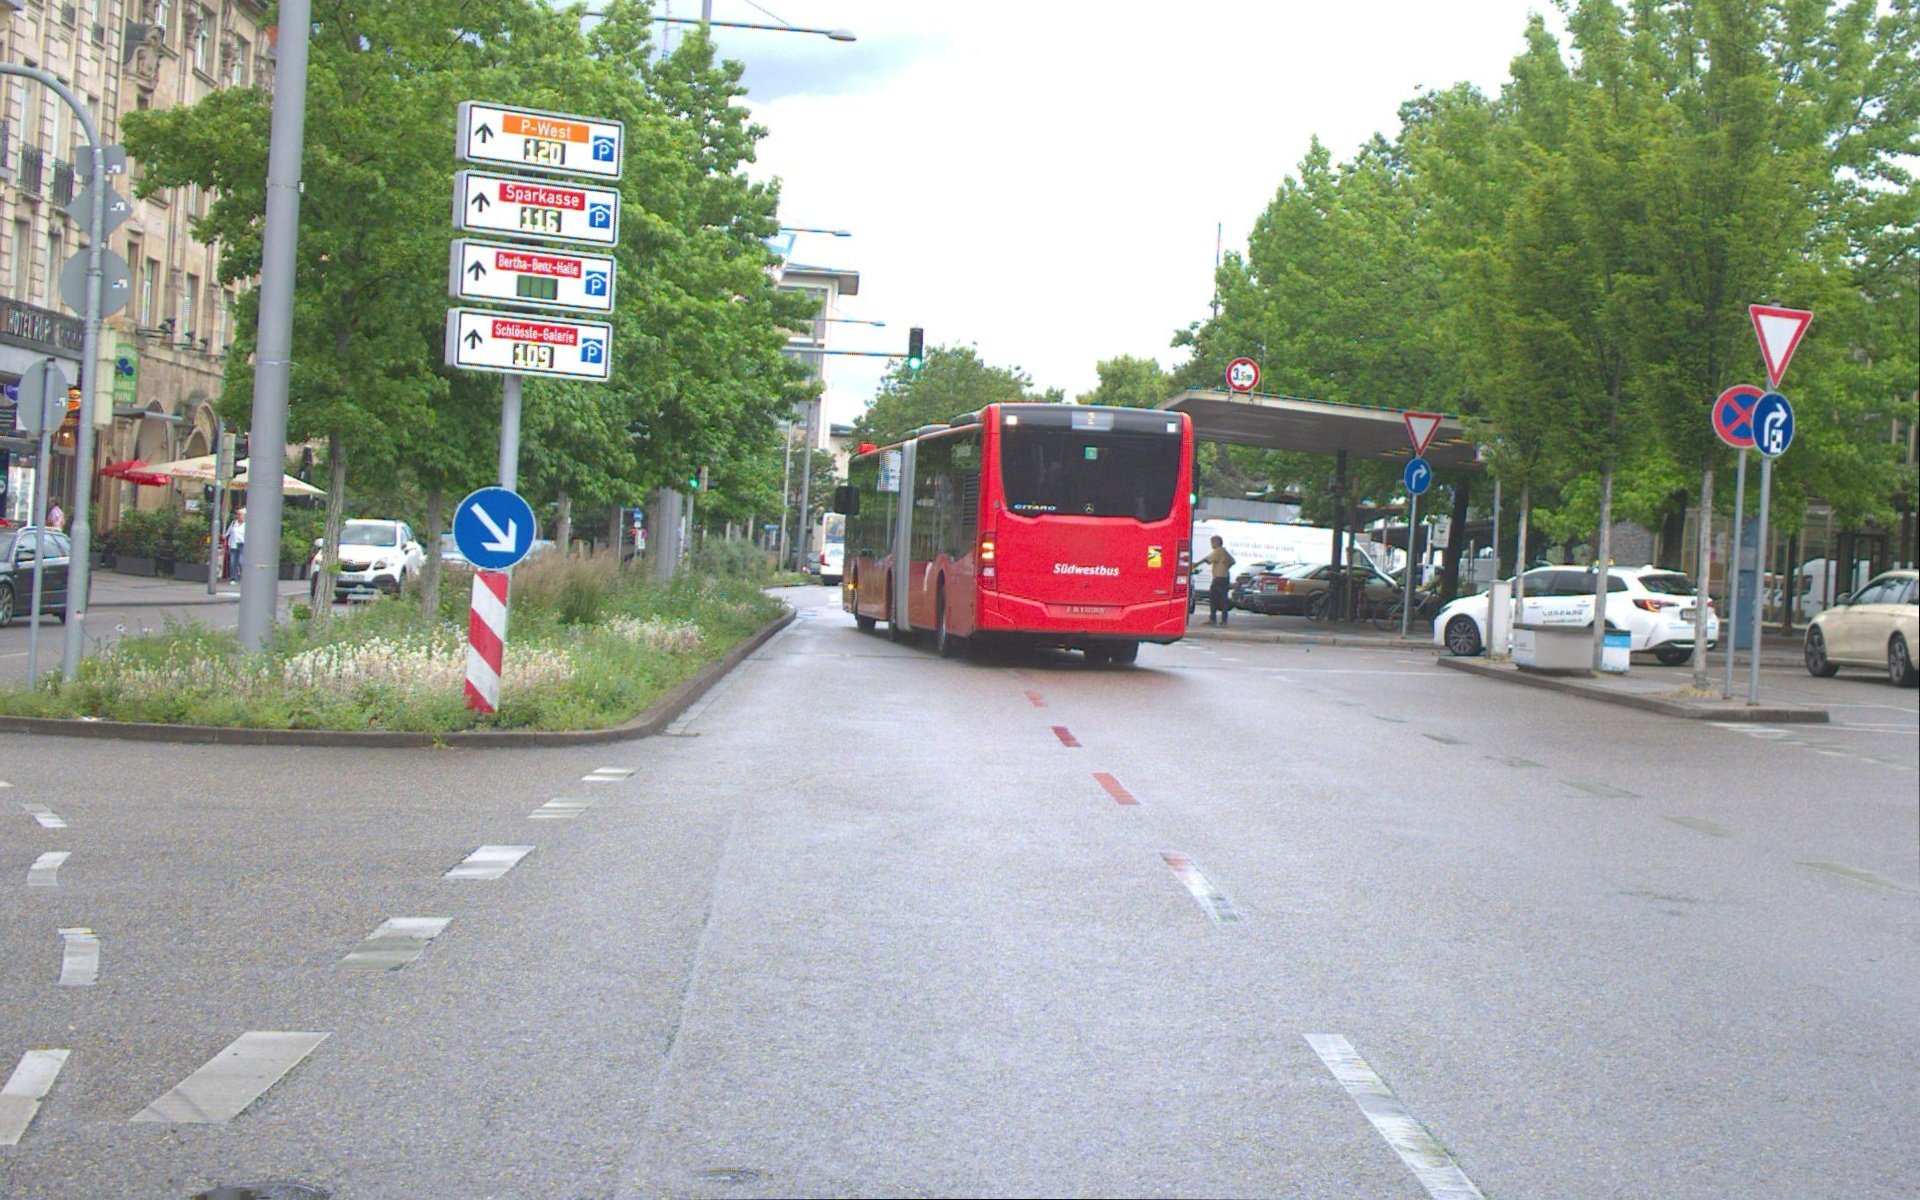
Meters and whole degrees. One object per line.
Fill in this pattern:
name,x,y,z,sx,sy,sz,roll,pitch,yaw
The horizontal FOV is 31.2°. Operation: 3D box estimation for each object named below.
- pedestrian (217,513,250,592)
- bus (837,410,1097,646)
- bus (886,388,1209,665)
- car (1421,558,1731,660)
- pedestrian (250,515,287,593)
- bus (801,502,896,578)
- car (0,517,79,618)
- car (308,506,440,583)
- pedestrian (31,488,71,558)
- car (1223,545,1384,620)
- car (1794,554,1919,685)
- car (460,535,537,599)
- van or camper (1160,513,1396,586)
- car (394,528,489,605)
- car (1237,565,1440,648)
pedestrian,-16.113,-1.056,76.275,0.575,1.726,0.609,2,1,-1
bus,-0.082,-1.071,51.896,2.742,3.163,10.197,1,1,-6
bus,0.943,-0.924,43.965,2.742,3.163,8.123,1,1,-8
car,9.104,0.111,51.072,1.774,1.380,4.366,0,1,-41
pedestrian,-15.331,-1.024,76.217,0.674,1.696,0.634,2,1,-1
bus,-5.163,-2.731,156.074,3.760,3.198,15.528,1,1,-4
car,-14.060,-0.489,48.918,1.755,1.364,4.059,2,2,4
car,-11.525,-1.117,67.865,1.755,1.364,4.060,2,2,2
pedestrian,-19.729,-1.670,74.600,0.661,1.505,0.519,1,1,-38
car,9.641,-0.492,96.656,3.986,2.007,2.001,1,1,-20
car,12.611,0.233,44.306,1.993,1.594,4.824,1,1,-7
car,-13.526,-0.973,100.871,1.993,1.785,4.001,1,1,-5
van or camper,9.533,-1.493,102.805,6.753,2.007,2.385,1,0,-26
car,-12.422,-0.818,82.568,1.993,1.752,4.001,1,1,-6
car,9.058,0.157,82.286,4.335,1.851,2.001,1,1,-20
